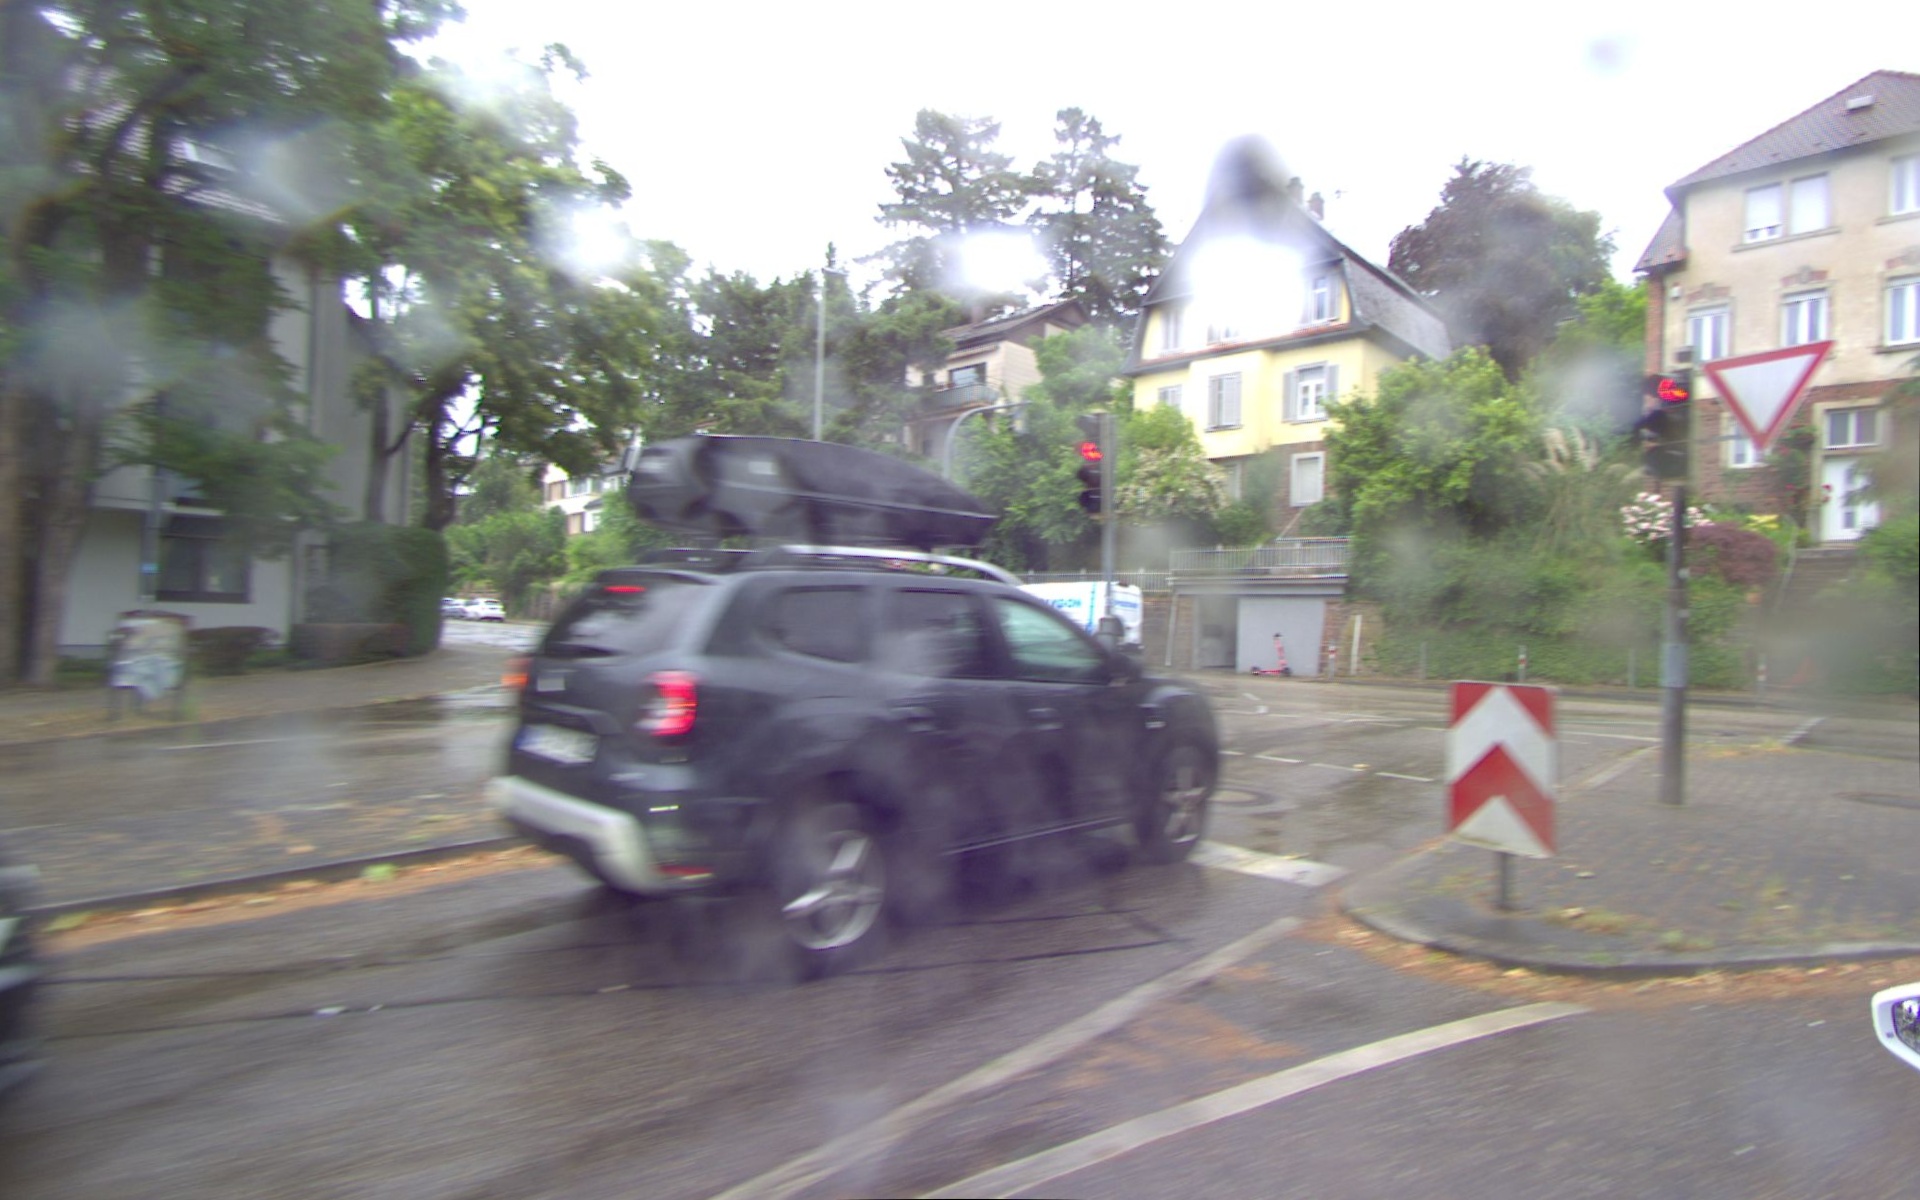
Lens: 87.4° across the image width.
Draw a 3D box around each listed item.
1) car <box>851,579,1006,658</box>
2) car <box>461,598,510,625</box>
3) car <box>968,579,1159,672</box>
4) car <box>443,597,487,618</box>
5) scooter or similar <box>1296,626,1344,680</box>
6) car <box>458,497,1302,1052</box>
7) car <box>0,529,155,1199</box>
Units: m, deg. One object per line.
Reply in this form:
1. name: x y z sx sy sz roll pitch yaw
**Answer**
1. car: -1.203 0.603 35.386 2.300 2.527 5.508 3 -1 -44
2. car: -31.596 0.798 66.845 1.806 1.667 3.949 3 -3 -43
3. car: 3.050 0.712 30.729 2.300 2.527 5.605 3 -1 -44
4. car: -34.796 0.557 70.549 1.747 1.416 3.950 3 -3 -43
5. scooter or similar: 9.261 1.368 25.865 1.072 1.352 0.462 1 -2 2
6. car: 0.025 0.529 5.414 1.741 1.734 4.575 3 2 42
7. car: -4.009 0.546 1.167 1.812 1.476 4.630 4 3 44
